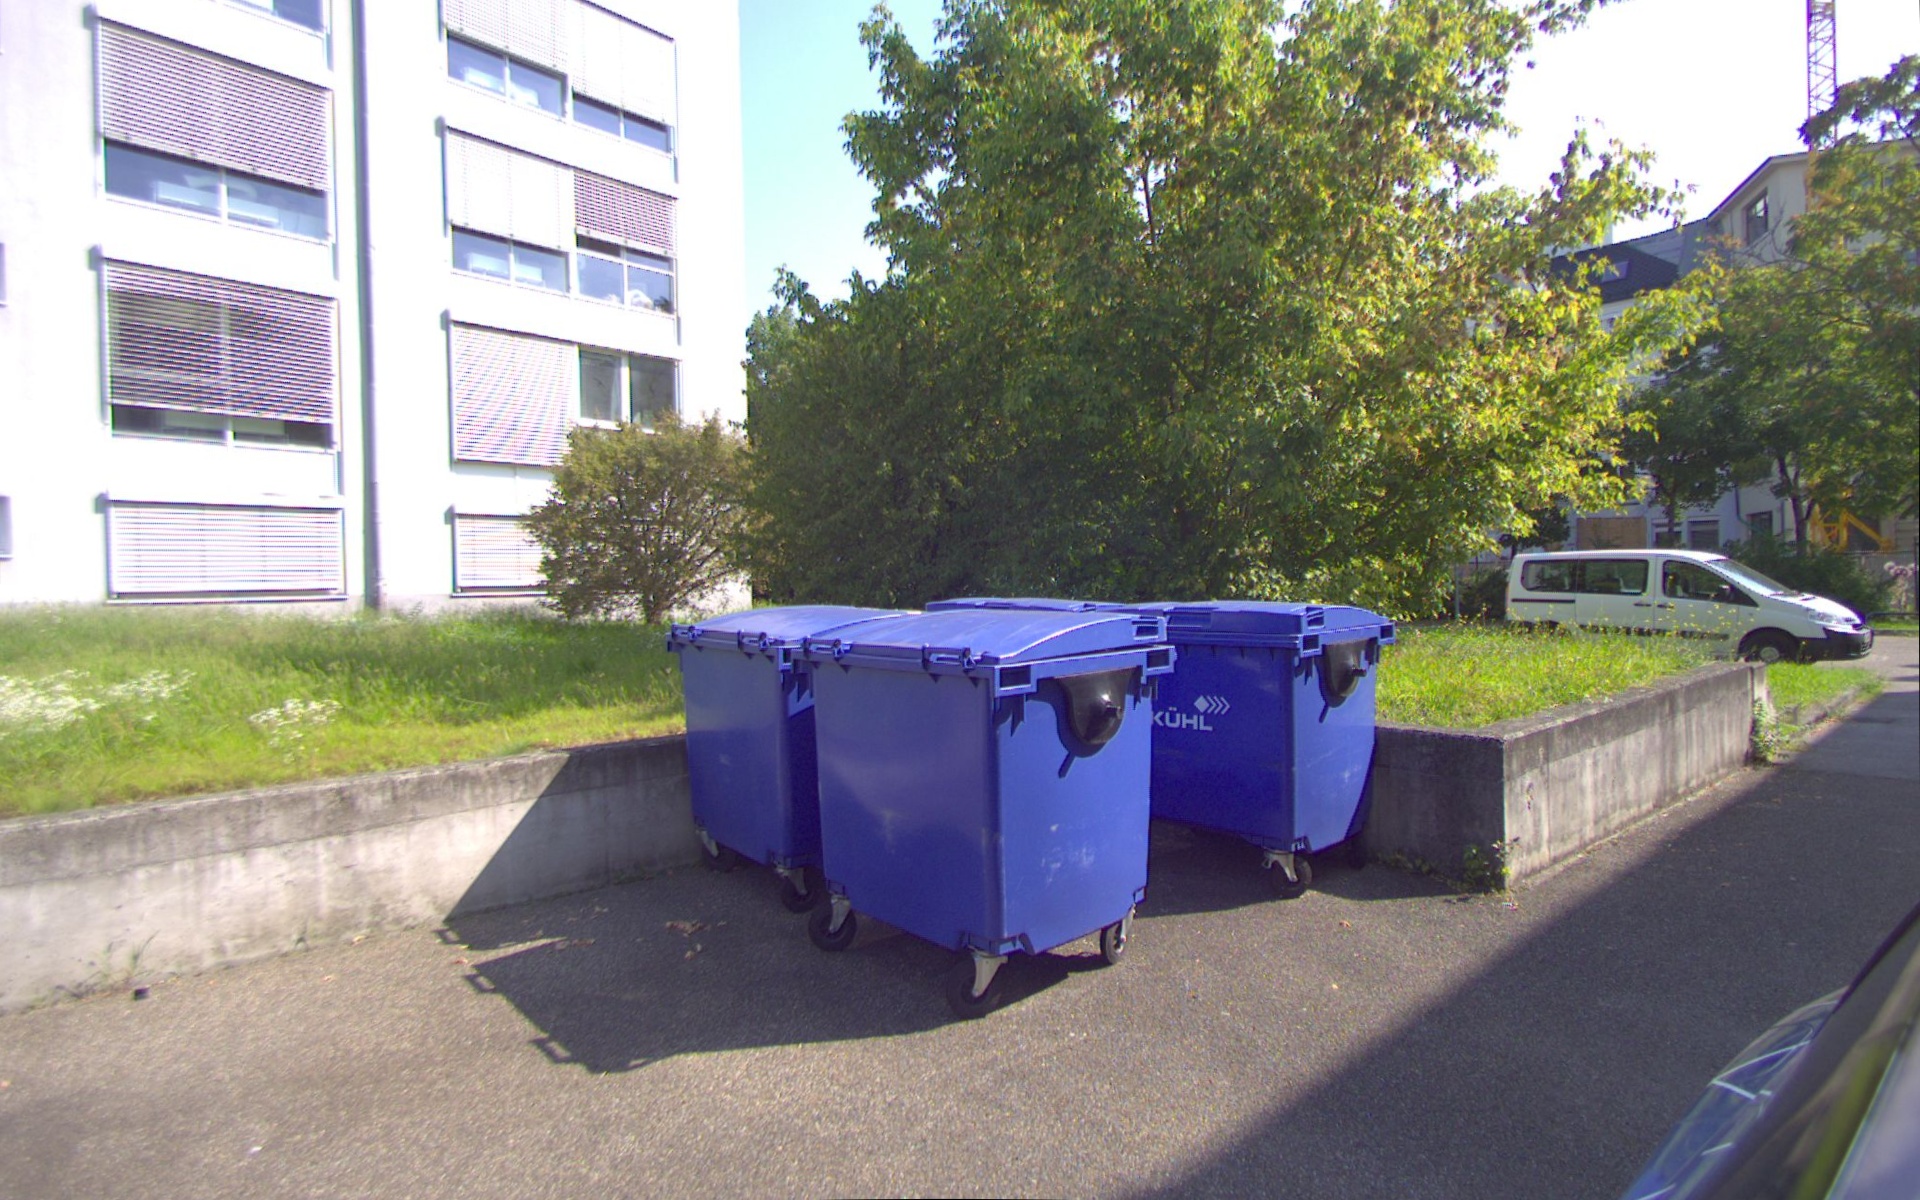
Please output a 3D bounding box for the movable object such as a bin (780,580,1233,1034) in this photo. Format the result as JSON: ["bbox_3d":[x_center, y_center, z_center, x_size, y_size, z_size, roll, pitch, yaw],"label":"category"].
[{"bbox_3d":[0.162,0.633,3.979,1.174,1.357,1.302,-3,1,-42],"label":"movable object such as a bin"}]

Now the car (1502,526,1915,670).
[{"bbox_3d":[11.794,-0.030,16.302,2.008,1.945,4.967,-3,1,-39],"label":"car"}]

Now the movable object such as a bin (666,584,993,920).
[{"bbox_3d":[-0.672,0.628,5.016,1.097,1.357,1.237,-3,1,-38],"label":"movable object such as a bin"}]

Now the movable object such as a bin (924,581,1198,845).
[{"bbox_3d":[0.606,0.595,6.119,1.226,1.357,1.060,-1,1,44],"label":"movable object such as a bin"}]

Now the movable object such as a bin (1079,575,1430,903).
[{"bbox_3d":[1.468,0.582,5.101,1.082,1.357,1.310,-3,1,-44],"label":"movable object such as a bin"}]
